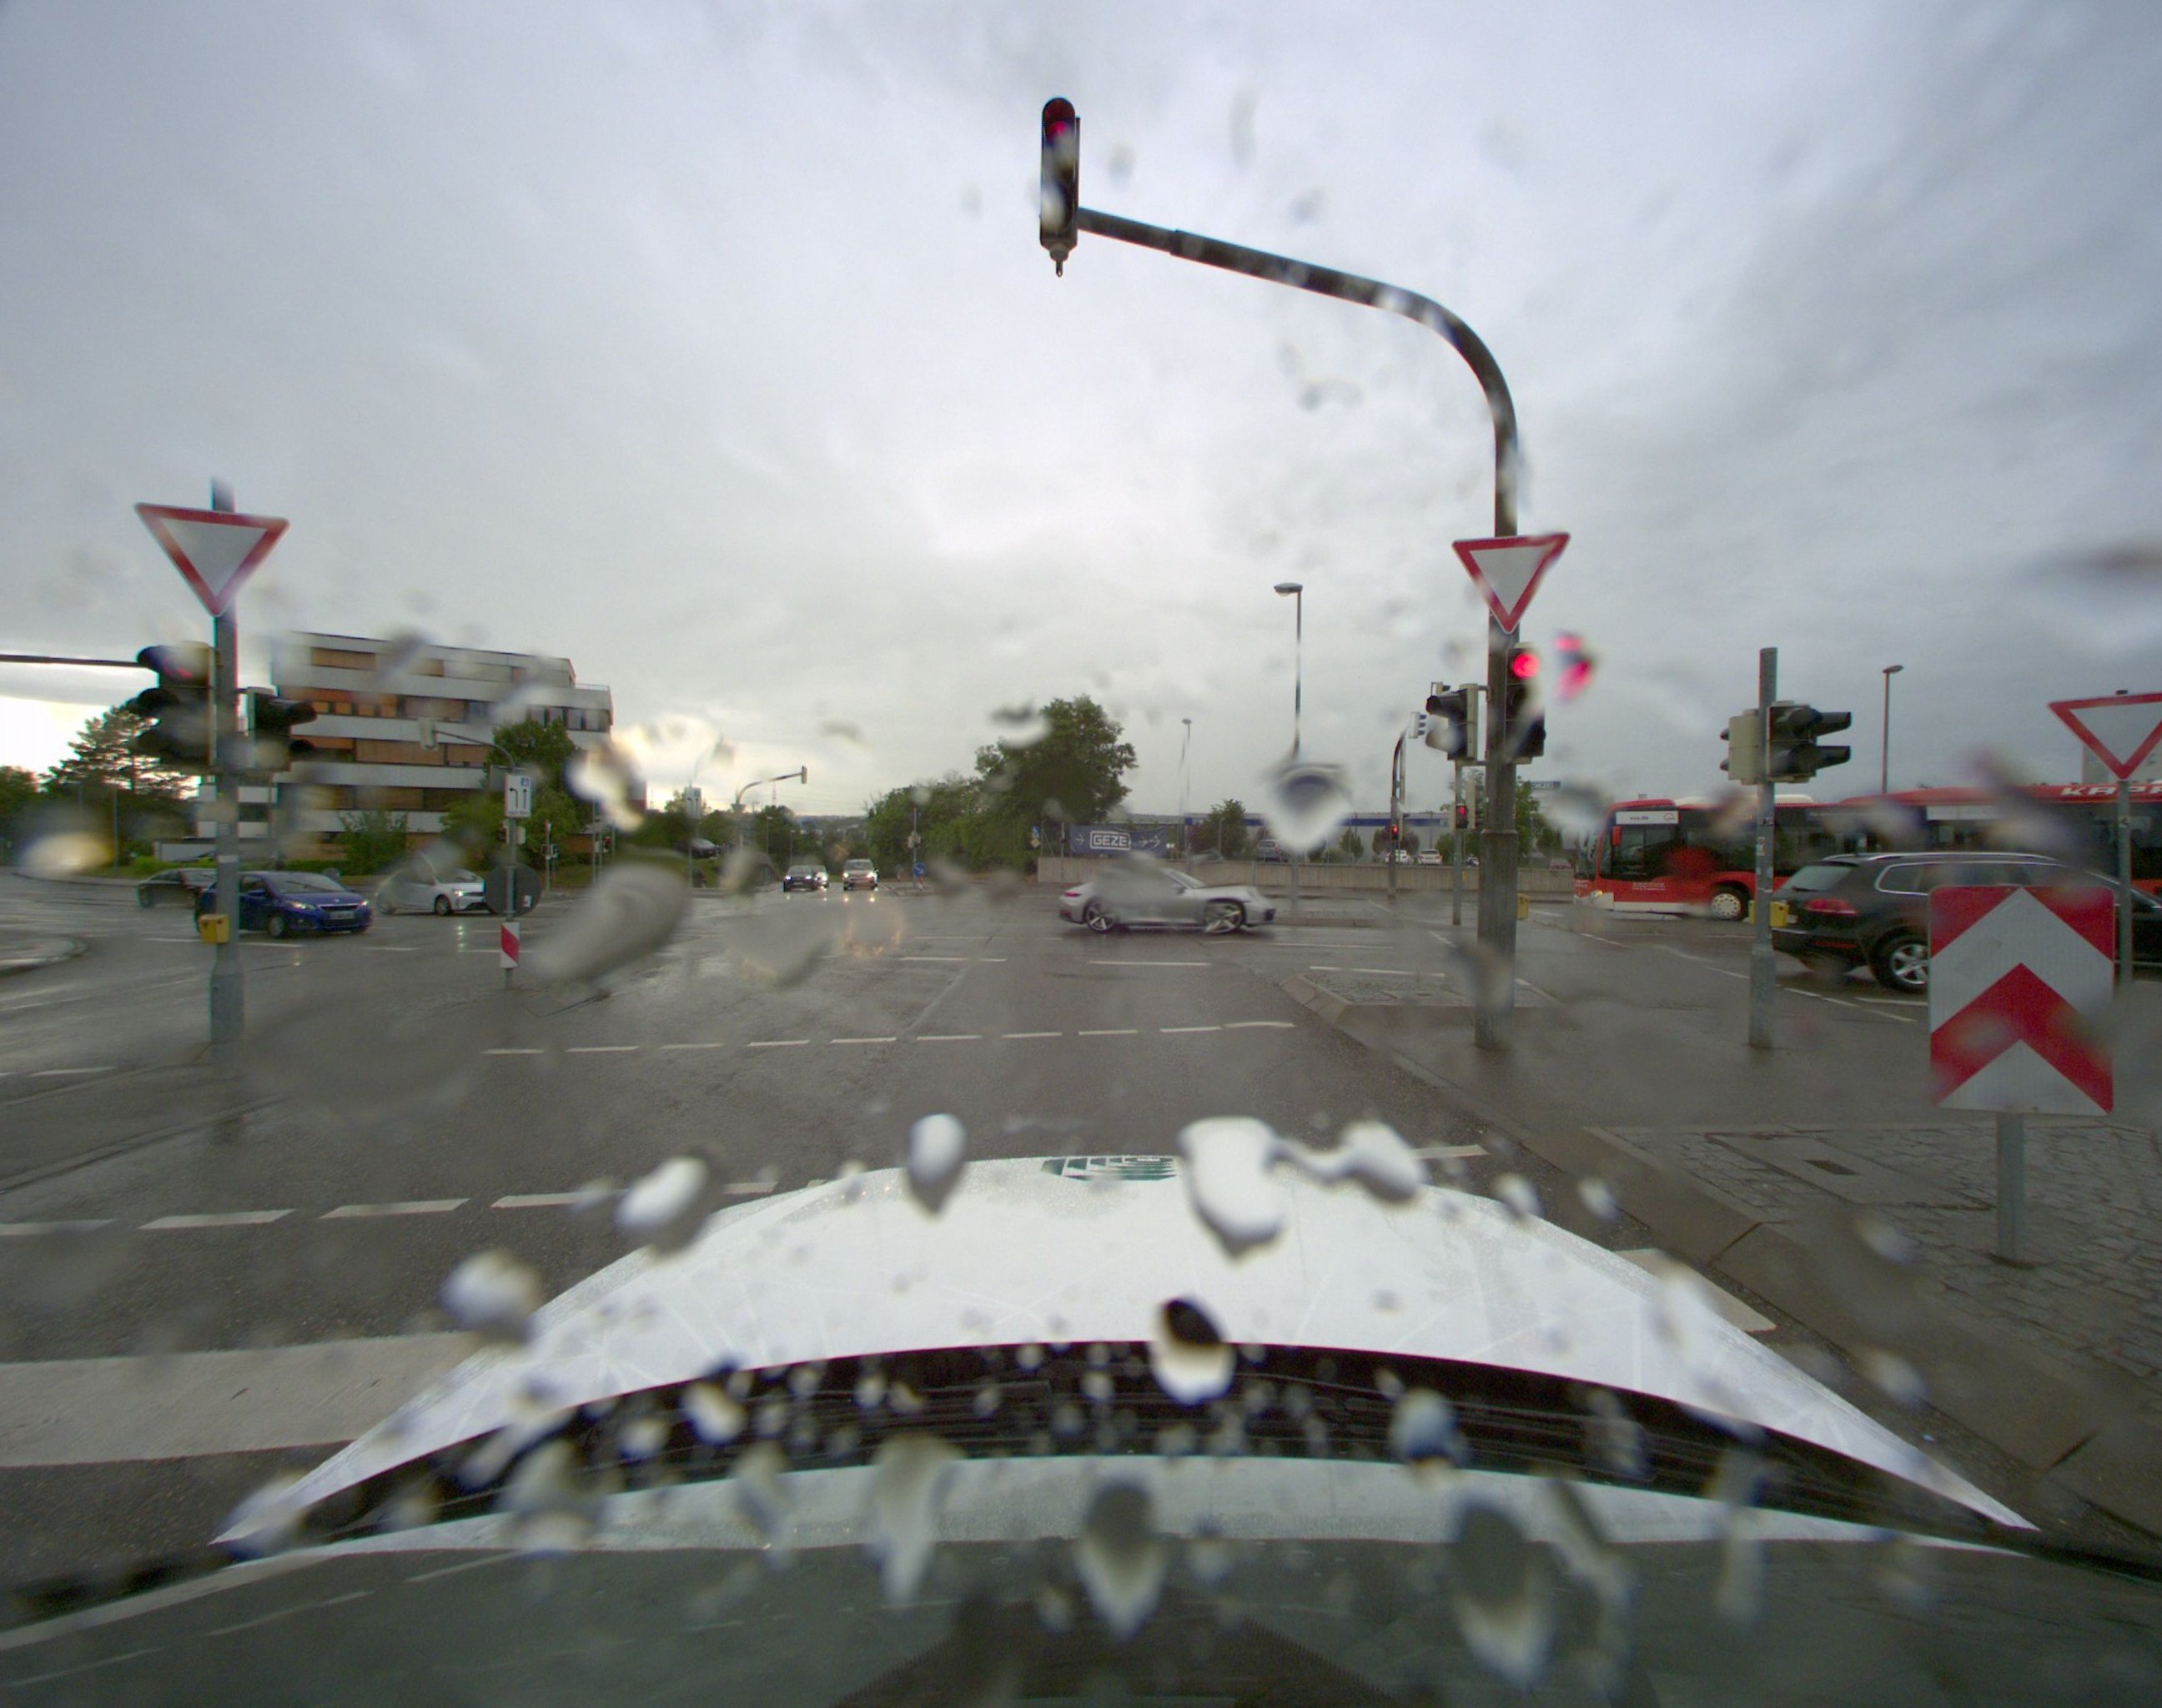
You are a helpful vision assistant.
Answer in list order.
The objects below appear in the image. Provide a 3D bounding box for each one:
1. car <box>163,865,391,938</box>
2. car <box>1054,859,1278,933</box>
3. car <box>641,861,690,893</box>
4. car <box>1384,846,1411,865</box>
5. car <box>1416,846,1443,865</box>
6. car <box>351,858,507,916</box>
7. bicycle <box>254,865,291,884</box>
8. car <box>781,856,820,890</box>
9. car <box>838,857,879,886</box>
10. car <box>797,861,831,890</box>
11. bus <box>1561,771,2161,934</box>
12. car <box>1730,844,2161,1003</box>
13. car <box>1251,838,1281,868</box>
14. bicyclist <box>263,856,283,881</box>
[{"bbox_3d":[-18.310,1.037,18.603,3.959,1.514,1.852,0,0,13],"label":"car"},{"bbox_3d":[1.814,0.813,16.968,4.400,1.358,1.864,0,0,14],"label":"car"},{"bbox_3d":[-26.686,1.426,52.394,1.997,1.895,3.979,0,0,-15],"label":"car"},{"bbox_3d":[26.388,0.102,67.843,1.976,1.478,4.021,0,0,22],"label":"car"},{"bbox_3d":[28.694,0.111,67.164,1.976,1.478,4.021,0,0,21],"label":"car"},{"bbox_3d":[-20.521,0.992,25.673,3.954,1.684,2.010,0,0,19],"label":"car"},{"bbox_3d":[-46.559,1.185,46.894,1.763,1.052,0.612,0,0,11],"label":"bicycle"},{"bbox_3d":[-16.770,1.088,48.829,1.998,1.895,3.978,0,0,-16],"label":"car"},{"bbox_3d":[-13.058,1.009,47.980,1.995,1.618,3.985,0,0,-11],"label":"car"},{"bbox_3d":[-18.313,1.425,55.942,1.997,1.895,3.980,0,0,-15],"label":"car"},{"bbox_3d":[18.679,-0.120,19.307,12.177,3.321,3.090,1,0,19],"label":"bus"},{"bbox_3d":[11.438,0.783,10.346,4.561,1.702,2.009,2,1,16],"label":"car"},{"bbox_3d":[13.101,-0.071,57.543,1.979,2.013,4.015,0,0,13],"label":"car"},{"bbox_3d":[-46.510,0.814,46.882,0.540,1.446,0.605,0,0,11],"label":"bicyclist"}]
